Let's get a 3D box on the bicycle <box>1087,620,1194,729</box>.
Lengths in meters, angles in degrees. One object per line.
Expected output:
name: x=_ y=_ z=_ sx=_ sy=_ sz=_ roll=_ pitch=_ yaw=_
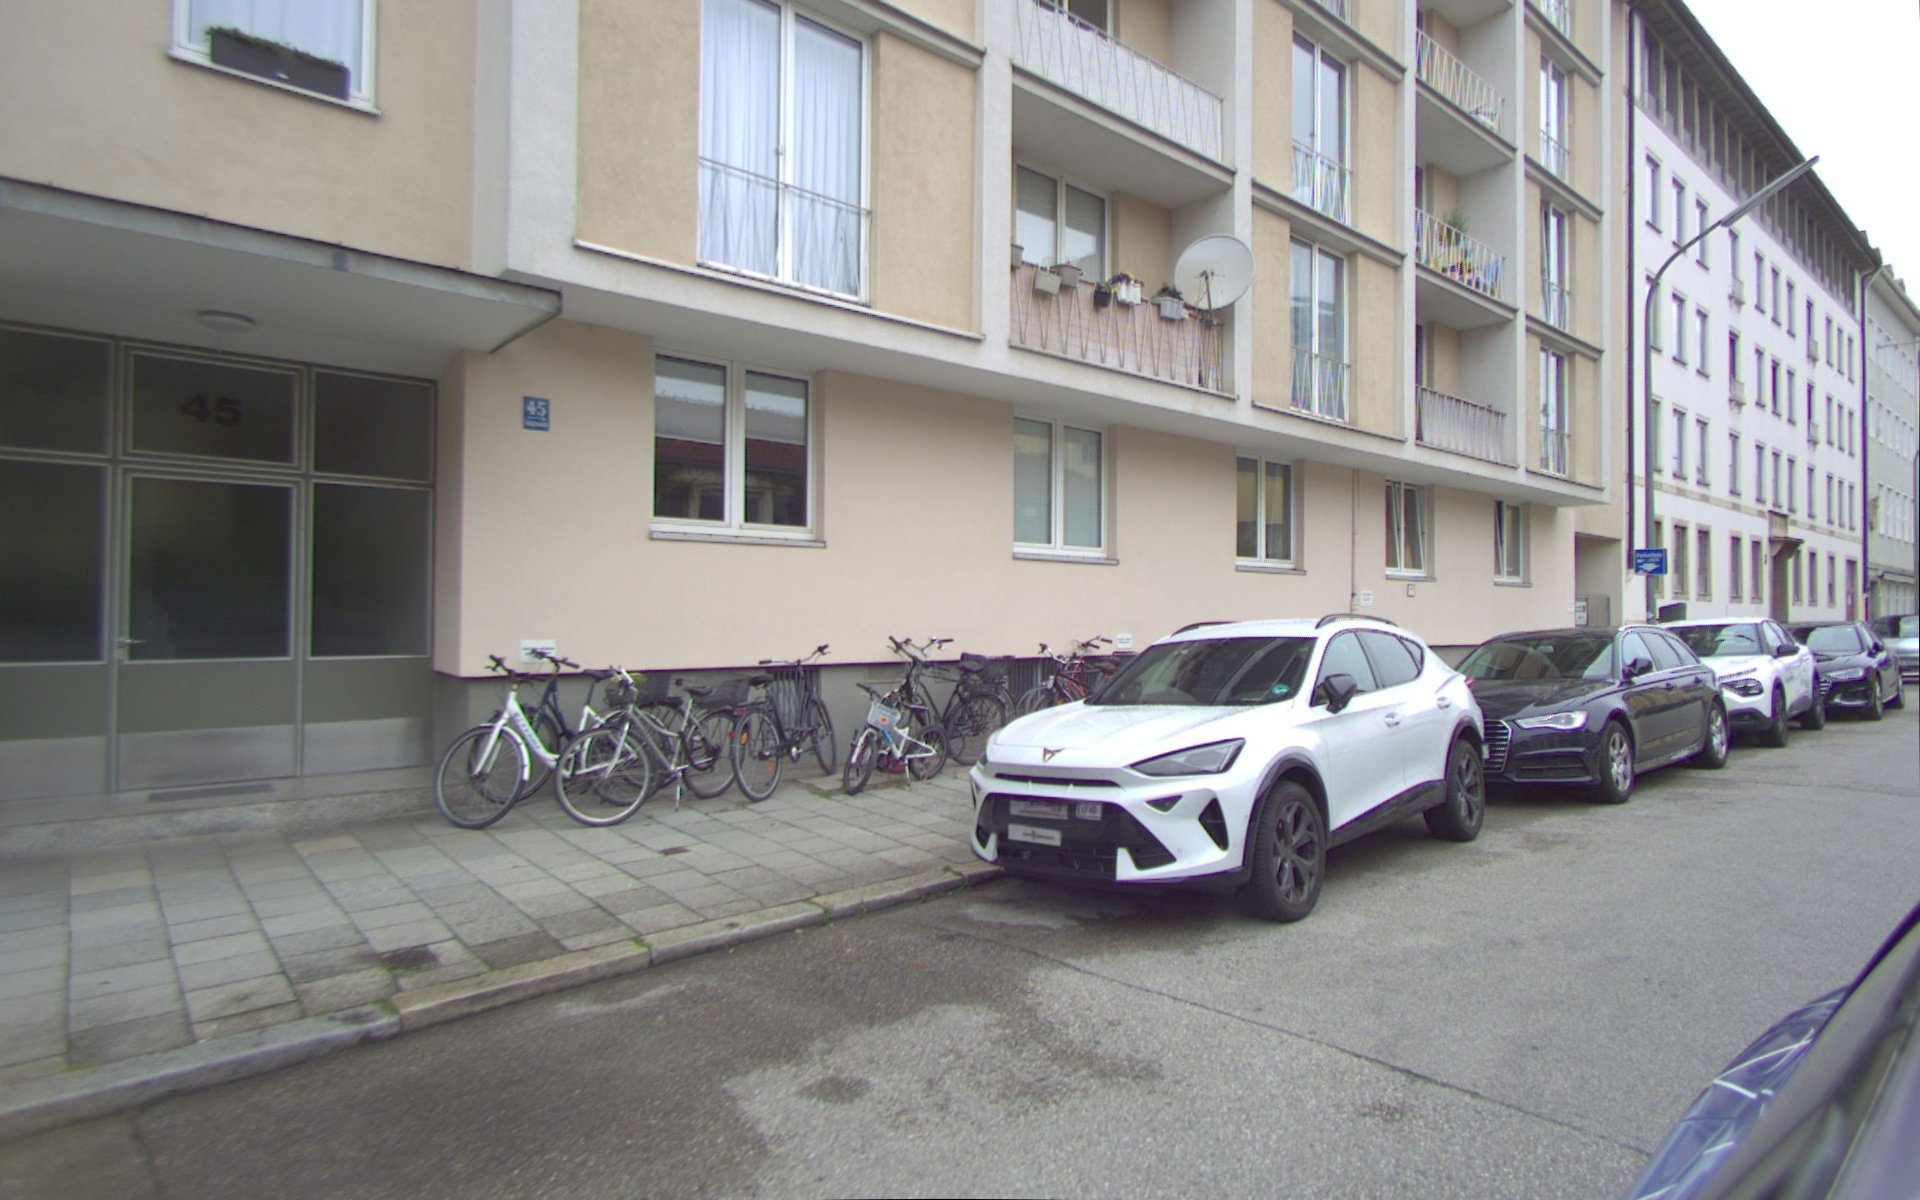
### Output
bicycle: x=2.176 y=0.866 z=12.125 sx=1.316 sy=1.216 sz=0.394 roll=1 pitch=3 yaw=-35

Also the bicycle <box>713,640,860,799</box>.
bicycle: x=-1.399 y=0.936 z=8.335 sx=0.393 sy=1.114 sz=1.286 roll=4 pitch=3 yaw=33

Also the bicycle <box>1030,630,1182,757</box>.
bicycle: x=1.521 y=0.943 z=10.479 sx=1.534 sy=1.216 sz=0.399 roll=1 pitch=2 yaw=-25

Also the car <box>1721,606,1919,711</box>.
car: x=13.587 y=0.864 z=15.688 sx=4.410 sy=1.399 sz=1.830 roll=2 pitch=-3 yaw=-39

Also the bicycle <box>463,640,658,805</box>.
bicycle: x=-3.035 y=0.896 z=7.754 sx=1.322 sy=1.115 sz=0.370 roll=0 pitch=3 yaw=-40

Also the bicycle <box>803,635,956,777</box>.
bicycle: x=-0.750 y=0.970 z=9.633 sx=1.367 sy=1.216 sz=0.448 roll=1 pitch=3 yaw=-34

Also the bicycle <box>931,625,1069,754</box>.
bicycle: x=0.423 y=0.888 z=10.413 sx=1.367 sy=1.216 sz=0.448 roll=1 pitch=3 yaw=-34

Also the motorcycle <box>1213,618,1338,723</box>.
motorcycle: x=4.262 y=0.896 z=13.588 sx=2.005 sy=1.287 sz=0.636 roll=1 pitch=0 yaw=-41

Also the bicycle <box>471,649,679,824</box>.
bicycle: x=-2.807 y=0.955 z=7.445 sx=1.363 sy=1.115 sz=0.370 roll=0 pitch=3 yaw=-40

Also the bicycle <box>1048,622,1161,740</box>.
bicycle: x=1.614 y=0.867 z=11.215 sx=1.260 sy=1.216 sz=0.418 roll=1 pitch=3 yaw=-36

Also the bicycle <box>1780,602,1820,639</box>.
bicycle: x=26.088 y=0.638 z=31.436 sx=2.004 sy=1.093 sz=0.599 roll=2 pitch=2 yaw=-41

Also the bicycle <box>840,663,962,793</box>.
bicycle: x=-0.483 y=1.059 z=8.660 sx=0.444 sy=0.905 sz=1.186 roll=4 pitch=3 yaw=29

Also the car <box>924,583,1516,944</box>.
car: x=1.919 y=0.809 z=6.508 sx=1.775 sy=1.543 sz=4.234 roll=-6 pitch=-5 yaw=44

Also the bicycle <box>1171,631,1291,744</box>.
bicycle: x=3.327 y=1.046 z=12.491 sx=1.335 sy=1.216 sz=0.389 roll=4 pitch=3 yaw=37

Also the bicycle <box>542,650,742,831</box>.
bicycle: x=-2.271 y=0.962 z=7.327 sx=0.391 sy=1.114 sz=1.325 roll=4 pitch=3 yaw=44

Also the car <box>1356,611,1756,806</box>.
car: x=5.873 y=0.906 z=9.725 sx=4.609 sy=1.448 sz=1.775 roll=1 pitch=-5 yaw=-40

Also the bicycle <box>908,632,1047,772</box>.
bicycle: x=0.177 y=0.931 z=9.604 sx=1.258 sy=1.216 sz=0.414 roll=1 pitch=3 yaw=-34

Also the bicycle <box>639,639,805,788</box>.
bicycle: x=-1.997 y=0.923 z=8.587 sx=1.322 sy=1.115 sz=0.370 roll=0 pitch=3 yaw=-40

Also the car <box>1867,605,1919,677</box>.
car: x=21.983 y=0.918 z=22.870 sx=3.318 sy=1.537 sz=1.617 roll=2 pitch=-5 yaw=-39

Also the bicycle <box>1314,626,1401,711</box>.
bicycle: x=5.922 y=0.995 z=15.043 sx=1.573 sy=1.171 sz=0.514 roll=1 pitch=0 yaw=-41

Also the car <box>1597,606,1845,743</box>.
car: x=9.865 y=0.891 z=13.012 sx=4.048 sy=1.488 sz=1.703 roll=1 pitch=-5 yaw=-42
